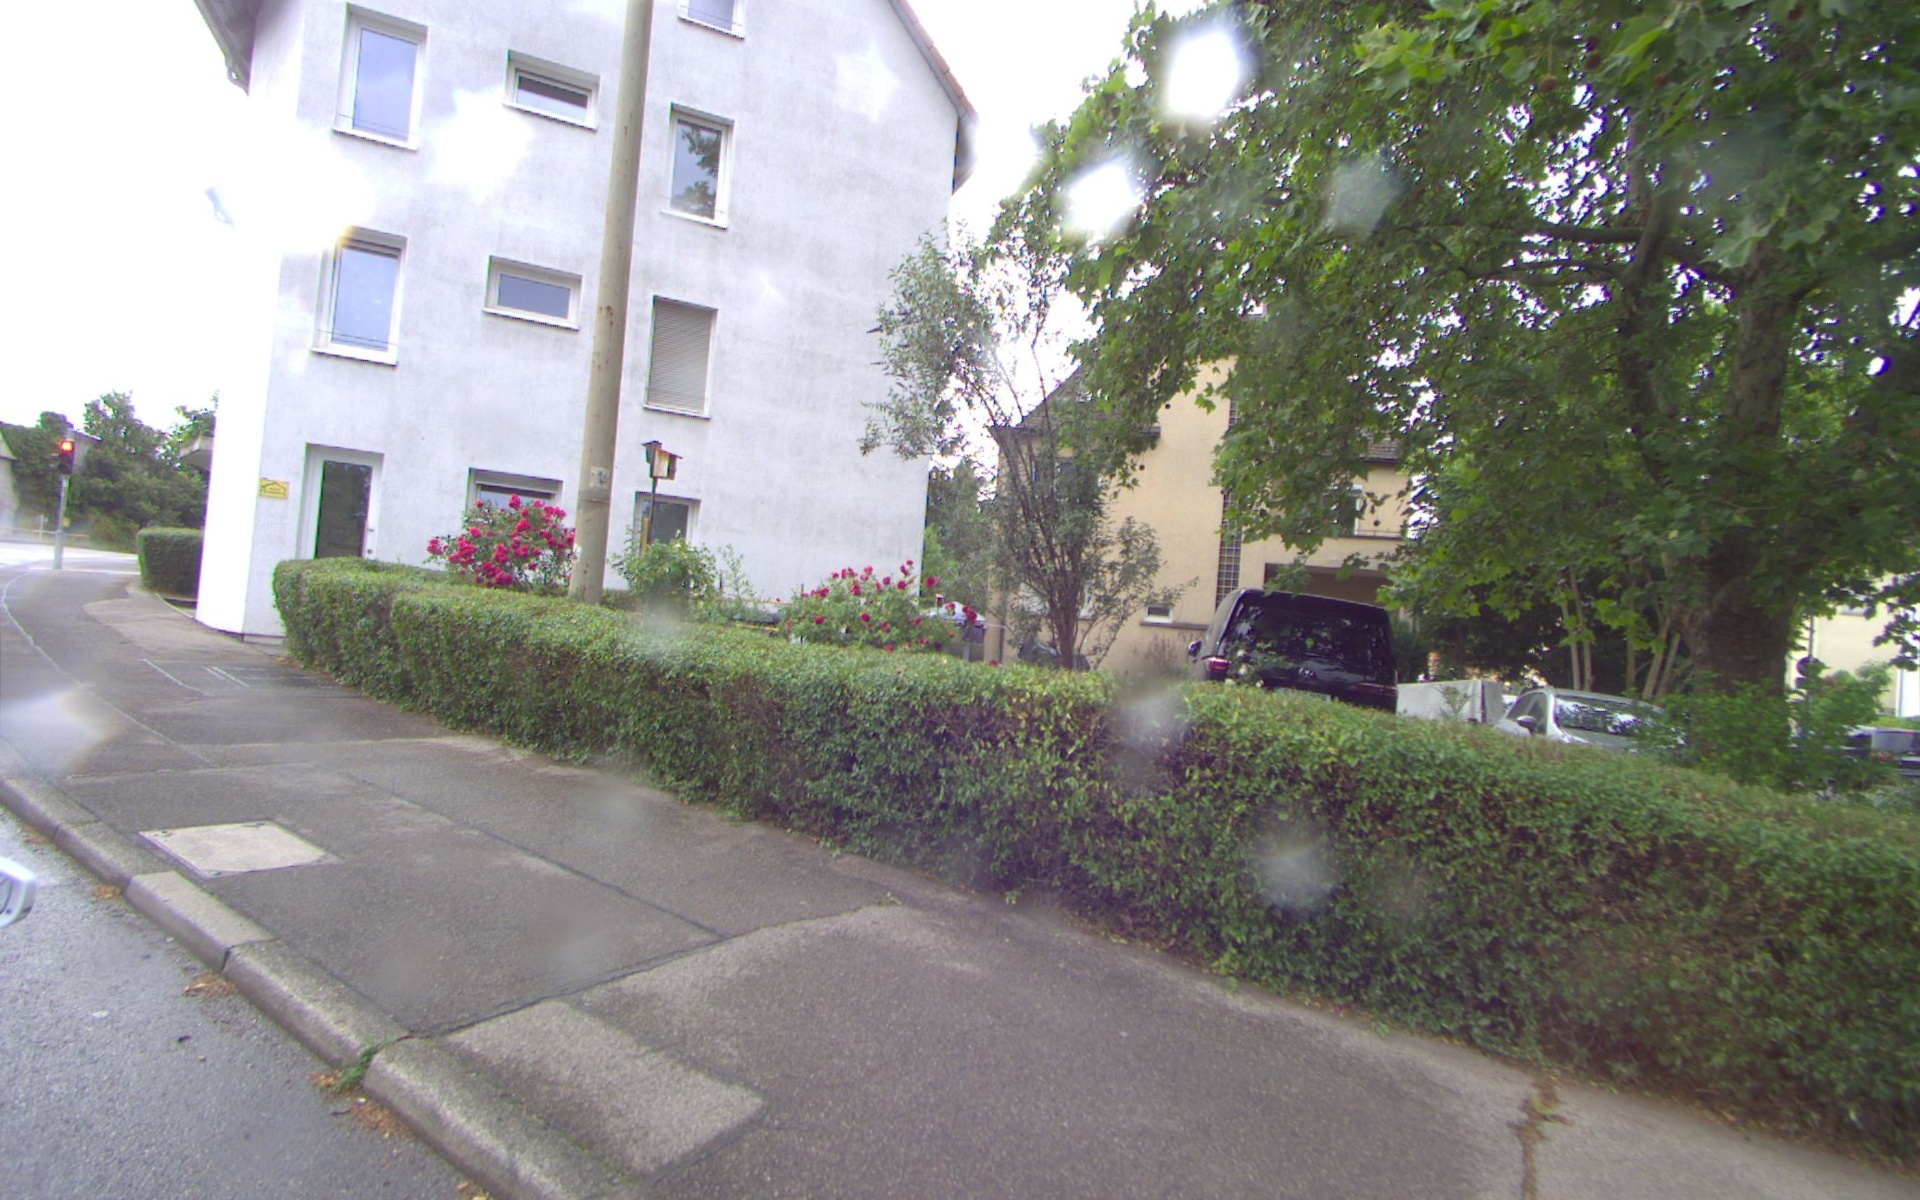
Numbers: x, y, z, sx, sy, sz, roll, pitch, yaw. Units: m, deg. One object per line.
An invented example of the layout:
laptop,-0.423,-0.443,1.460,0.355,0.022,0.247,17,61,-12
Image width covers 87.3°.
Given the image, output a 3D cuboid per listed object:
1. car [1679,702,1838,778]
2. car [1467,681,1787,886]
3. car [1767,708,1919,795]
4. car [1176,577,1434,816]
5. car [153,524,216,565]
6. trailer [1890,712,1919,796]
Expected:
car,26.228,4.532,33.287,1.962,1.861,4.584,6,-1,9
car,7.234,1.863,11.430,1.788,1.599,4.003,6,-2,16
car,25.136,4.193,28.044,1.962,1.861,4.584,6,-1,9
car,3.606,0.973,11.392,1.962,1.955,4.419,6,-1,11
car,-37.224,-2.627,48.392,1.981,1.572,3.966,7,-2,-34
trailer,24.586,3.906,24.031,1.640,2.037,3.494,6,-1,8
